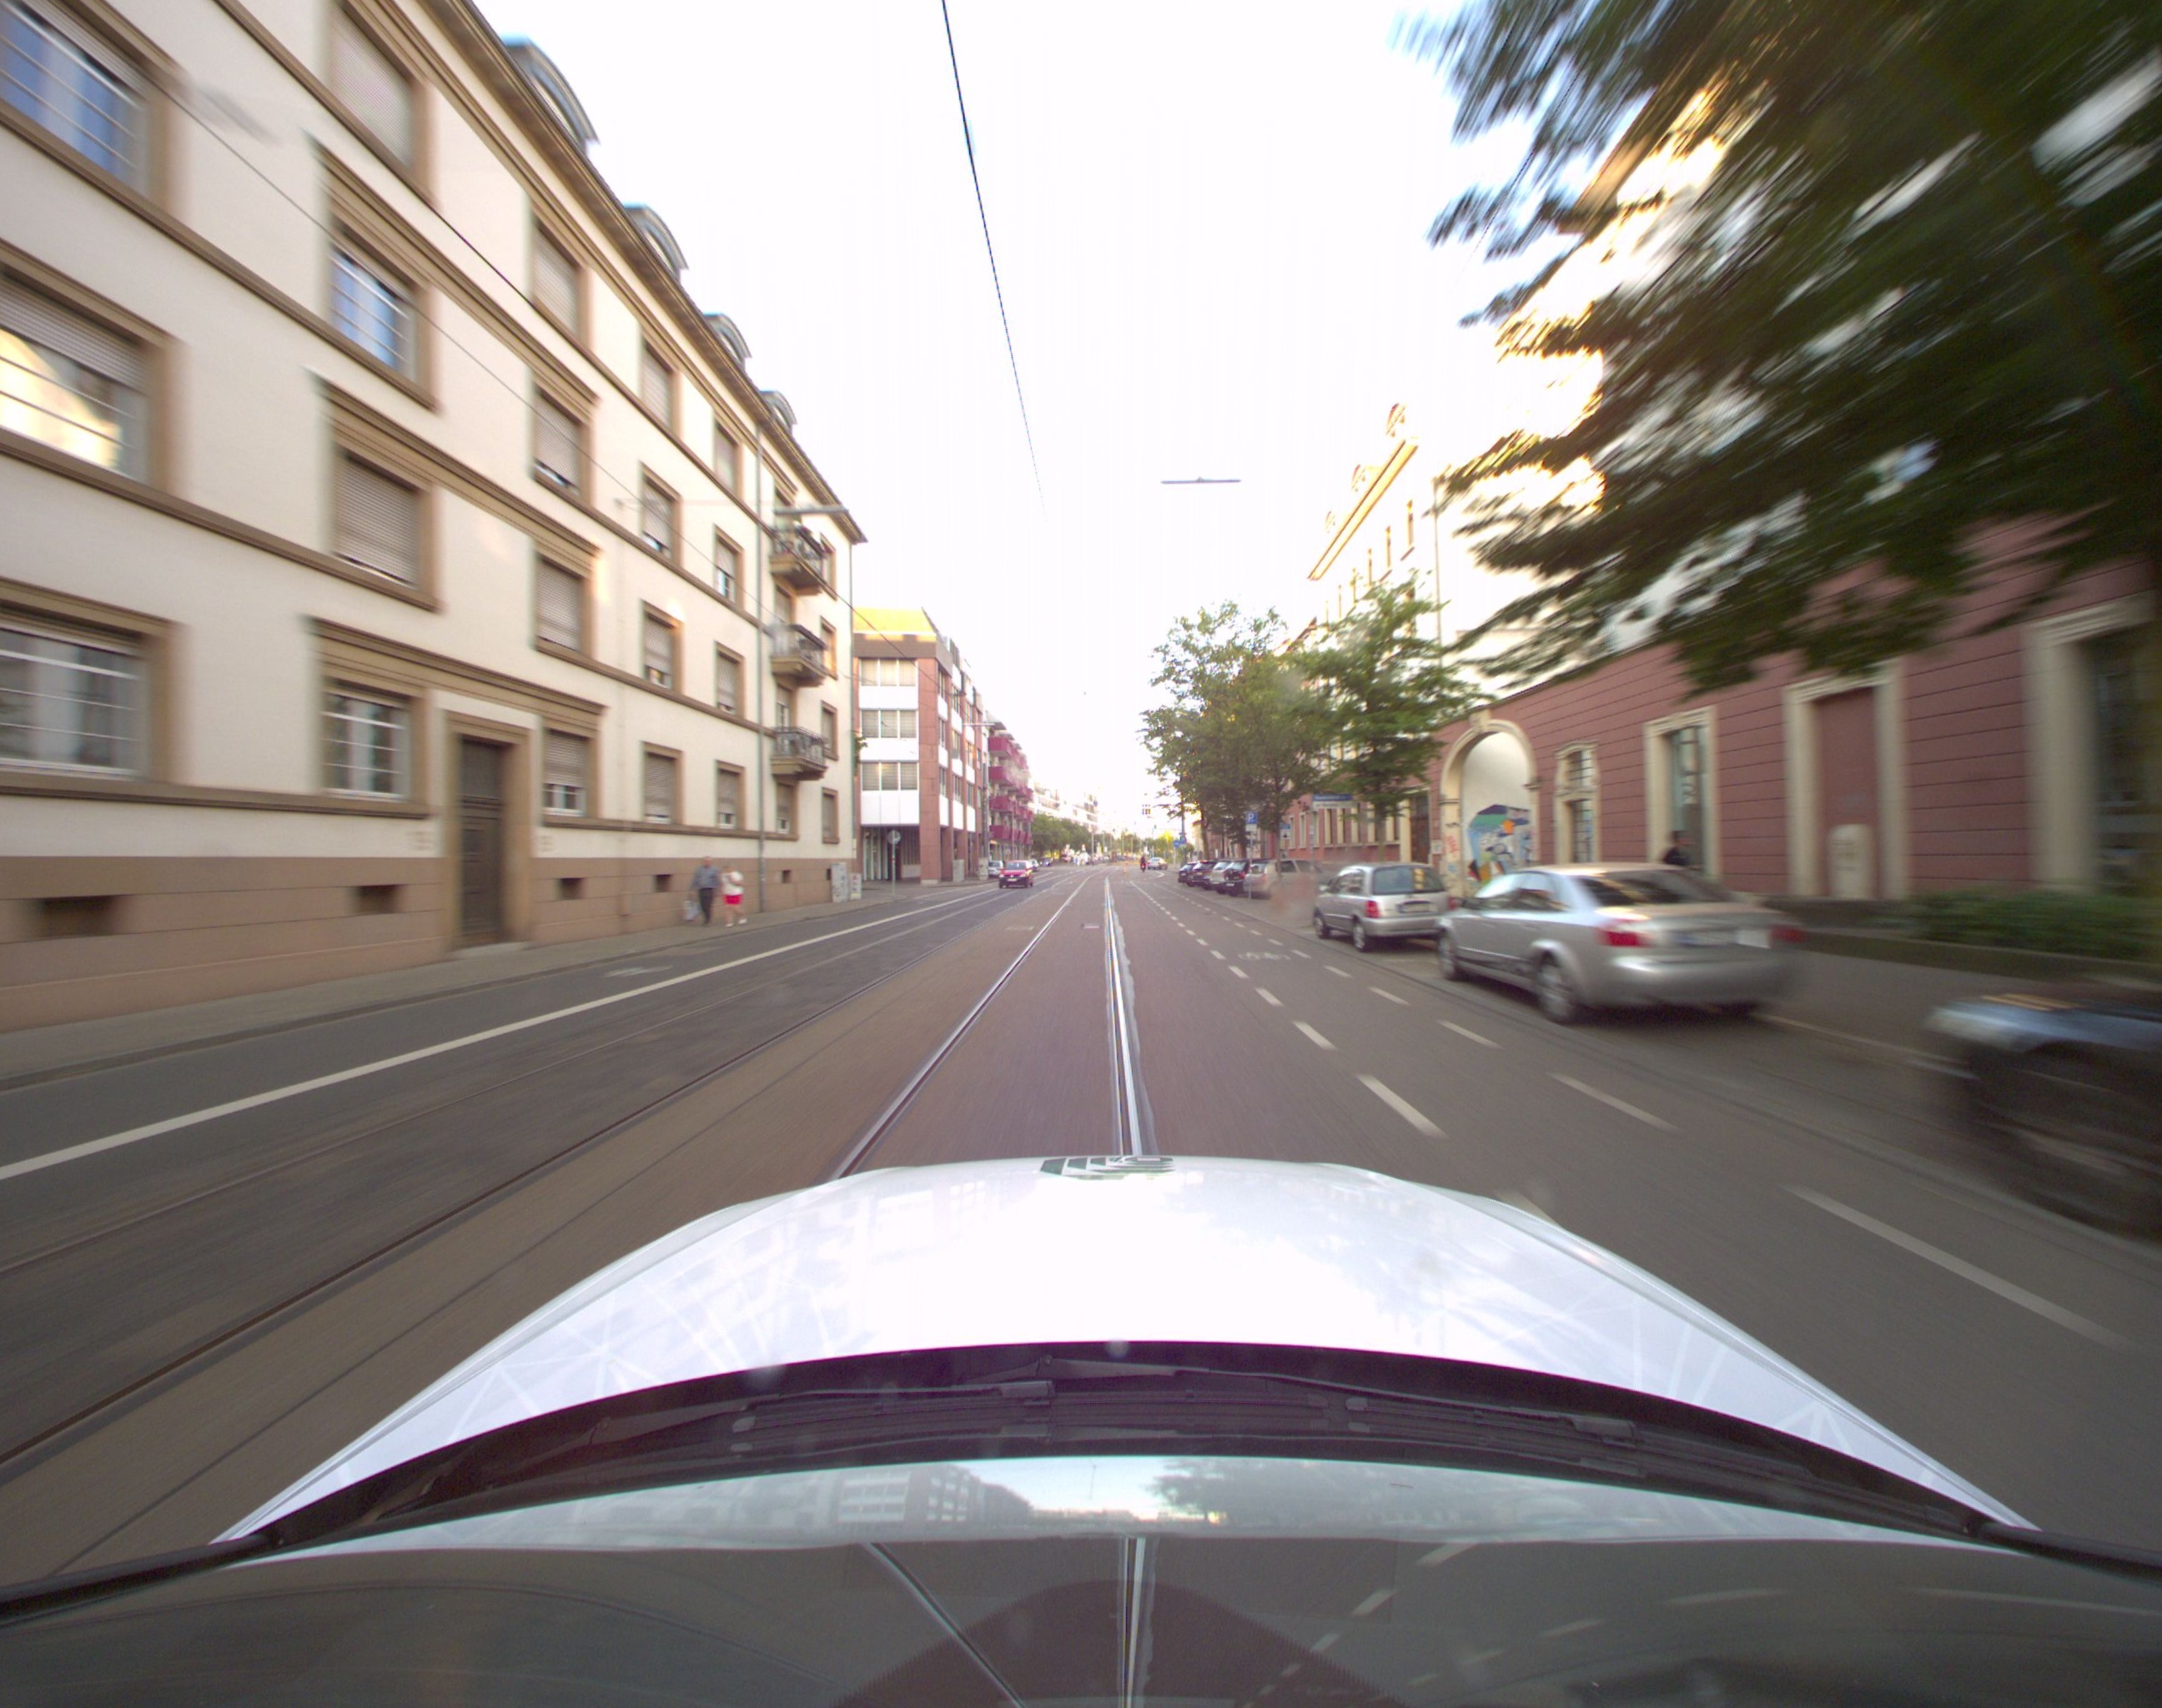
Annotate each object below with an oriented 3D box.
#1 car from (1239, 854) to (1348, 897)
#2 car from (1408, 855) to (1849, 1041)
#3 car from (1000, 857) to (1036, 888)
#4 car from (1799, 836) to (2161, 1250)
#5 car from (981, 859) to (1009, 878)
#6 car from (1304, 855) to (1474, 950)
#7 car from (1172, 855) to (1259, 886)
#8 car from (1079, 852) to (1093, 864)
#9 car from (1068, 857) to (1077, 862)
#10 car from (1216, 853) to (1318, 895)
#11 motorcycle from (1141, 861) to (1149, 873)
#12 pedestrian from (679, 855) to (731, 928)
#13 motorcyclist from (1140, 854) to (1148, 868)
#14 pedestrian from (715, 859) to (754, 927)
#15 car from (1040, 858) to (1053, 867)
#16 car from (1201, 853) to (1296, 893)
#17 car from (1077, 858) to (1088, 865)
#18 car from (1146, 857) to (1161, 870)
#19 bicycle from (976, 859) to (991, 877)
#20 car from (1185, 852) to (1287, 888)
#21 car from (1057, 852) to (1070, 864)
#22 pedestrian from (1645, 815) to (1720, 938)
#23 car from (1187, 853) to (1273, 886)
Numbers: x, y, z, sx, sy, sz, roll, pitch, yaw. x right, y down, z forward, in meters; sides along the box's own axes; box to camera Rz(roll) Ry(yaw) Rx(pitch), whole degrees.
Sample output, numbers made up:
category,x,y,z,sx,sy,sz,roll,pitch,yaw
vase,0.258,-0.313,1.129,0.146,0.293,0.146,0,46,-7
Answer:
category,x,y,z,sx,sy,sz,roll,pitch,yaw
car,7.725,0.775,29.680,3.491,1.429,1.611,-1,-2,-18
car,5.230,0.746,8.744,1.772,1.381,4.696,-3,0,4
car,-3.566,1.023,46.446,1.553,1.558,3.757,-2,0,2
car,4.897,0.669,1.962,1.986,1.489,5.038,-2,0,2
car,-7.256,1.208,68.889,1.710,1.555,4.206,0,0,2
car,5.266,0.756,14.455,1.613,1.381,3.777,-3,0,1
car,7.548,0.899,45.626,4.625,1.457,1.697,-3,0,-23
car,1.079,0.899,177.273,2.449,2.482,5.817,-1,0,5
car,-2.240,1.469,223.040,1.672,1.501,4.250,-1,0,10
car,7.268,0.764,31.837,3.571,1.429,1.656,-2,0,-24
motorcycle,6.898,1.357,88.200,0.824,1.240,2.494,-1,0,5
pedestrian,-9.166,0.896,19.887,0.793,1.701,0.981,-1,0,-1
motorcyclist,6.892,0.716,88.376,0.824,1.473,1.208,-1,0,4
pedestrian,-8.458,0.943,19.889,0.589,1.609,0.811,-1,0,-1
car,-6.901,1.676,161.937,1.672,1.700,4.251,-1,0,11
car,7.111,0.788,34.590,3.571,1.516,1.730,-2,0,-24
car,0.353,1.491,171.468,1.673,1.439,4.136,-1,0,9
car,9.036,1.155,101.587,1.710,1.555,4.206,0,0,2
bicycle,-7.677,1.097,64.209,0.605,1.377,2.264,-1,0,9
car,7.540,0.751,39.661,4.462,1.516,2.048,-2,0,-22
car,-4.638,0.998,214.239,2.188,3.152,6.159,-1,0,10
pedestrian,9.176,0.339,12.440,0.678,1.816,0.600,-1,-1,2
car,7.743,0.824,42.328,4.005,1.492,1.816,-3,-2,-23
